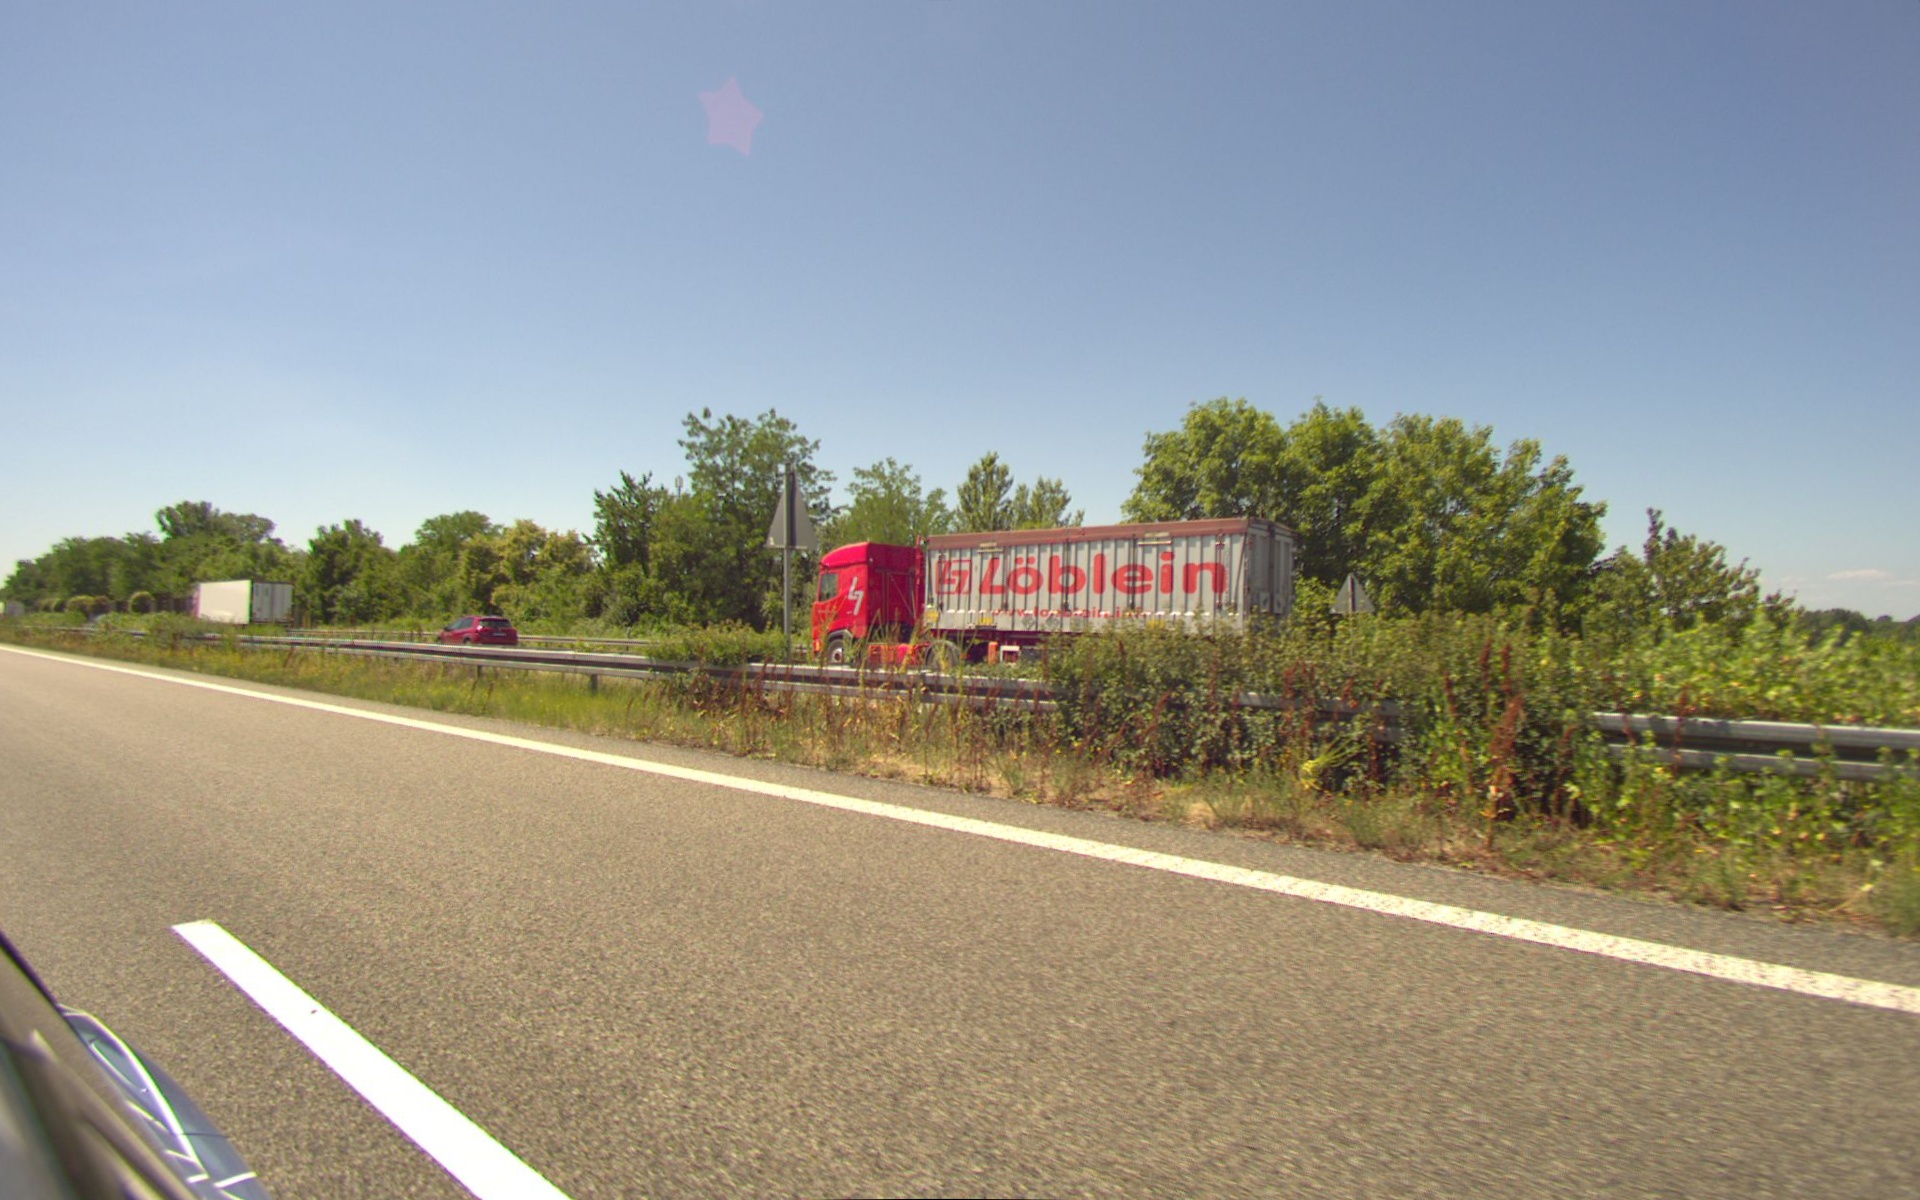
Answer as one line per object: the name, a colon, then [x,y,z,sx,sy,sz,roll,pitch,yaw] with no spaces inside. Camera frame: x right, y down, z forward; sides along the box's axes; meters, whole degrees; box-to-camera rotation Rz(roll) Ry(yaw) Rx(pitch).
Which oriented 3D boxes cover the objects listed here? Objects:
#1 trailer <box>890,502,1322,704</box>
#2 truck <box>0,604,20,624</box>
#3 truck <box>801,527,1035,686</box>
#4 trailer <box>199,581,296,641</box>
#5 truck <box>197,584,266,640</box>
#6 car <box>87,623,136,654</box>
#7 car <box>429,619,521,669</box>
trailer: [3.043,0.095,24.726,10.625,4.005,2.901,-1,0,42]
truck: [-151.375,2.236,160.871,5.182,3.022,2.369,-1,0,41]
truck: [-1.310,0.186,28.627,6.360,4.006,2.929,-1,0,41]
trailer: [-51.089,0.798,72.371,12.316,4.005,2.901,-1,0,42]
truck: [-53.916,0.868,74.880,5.906,4.006,2.895,-1,0,41]
car: [-54.820,2.449,65.348,4.179,1.884,1.854,-1,0,42]
car: [-18.220,1.605,37.940,4.000,1.735,1.794,-1,0,43]
